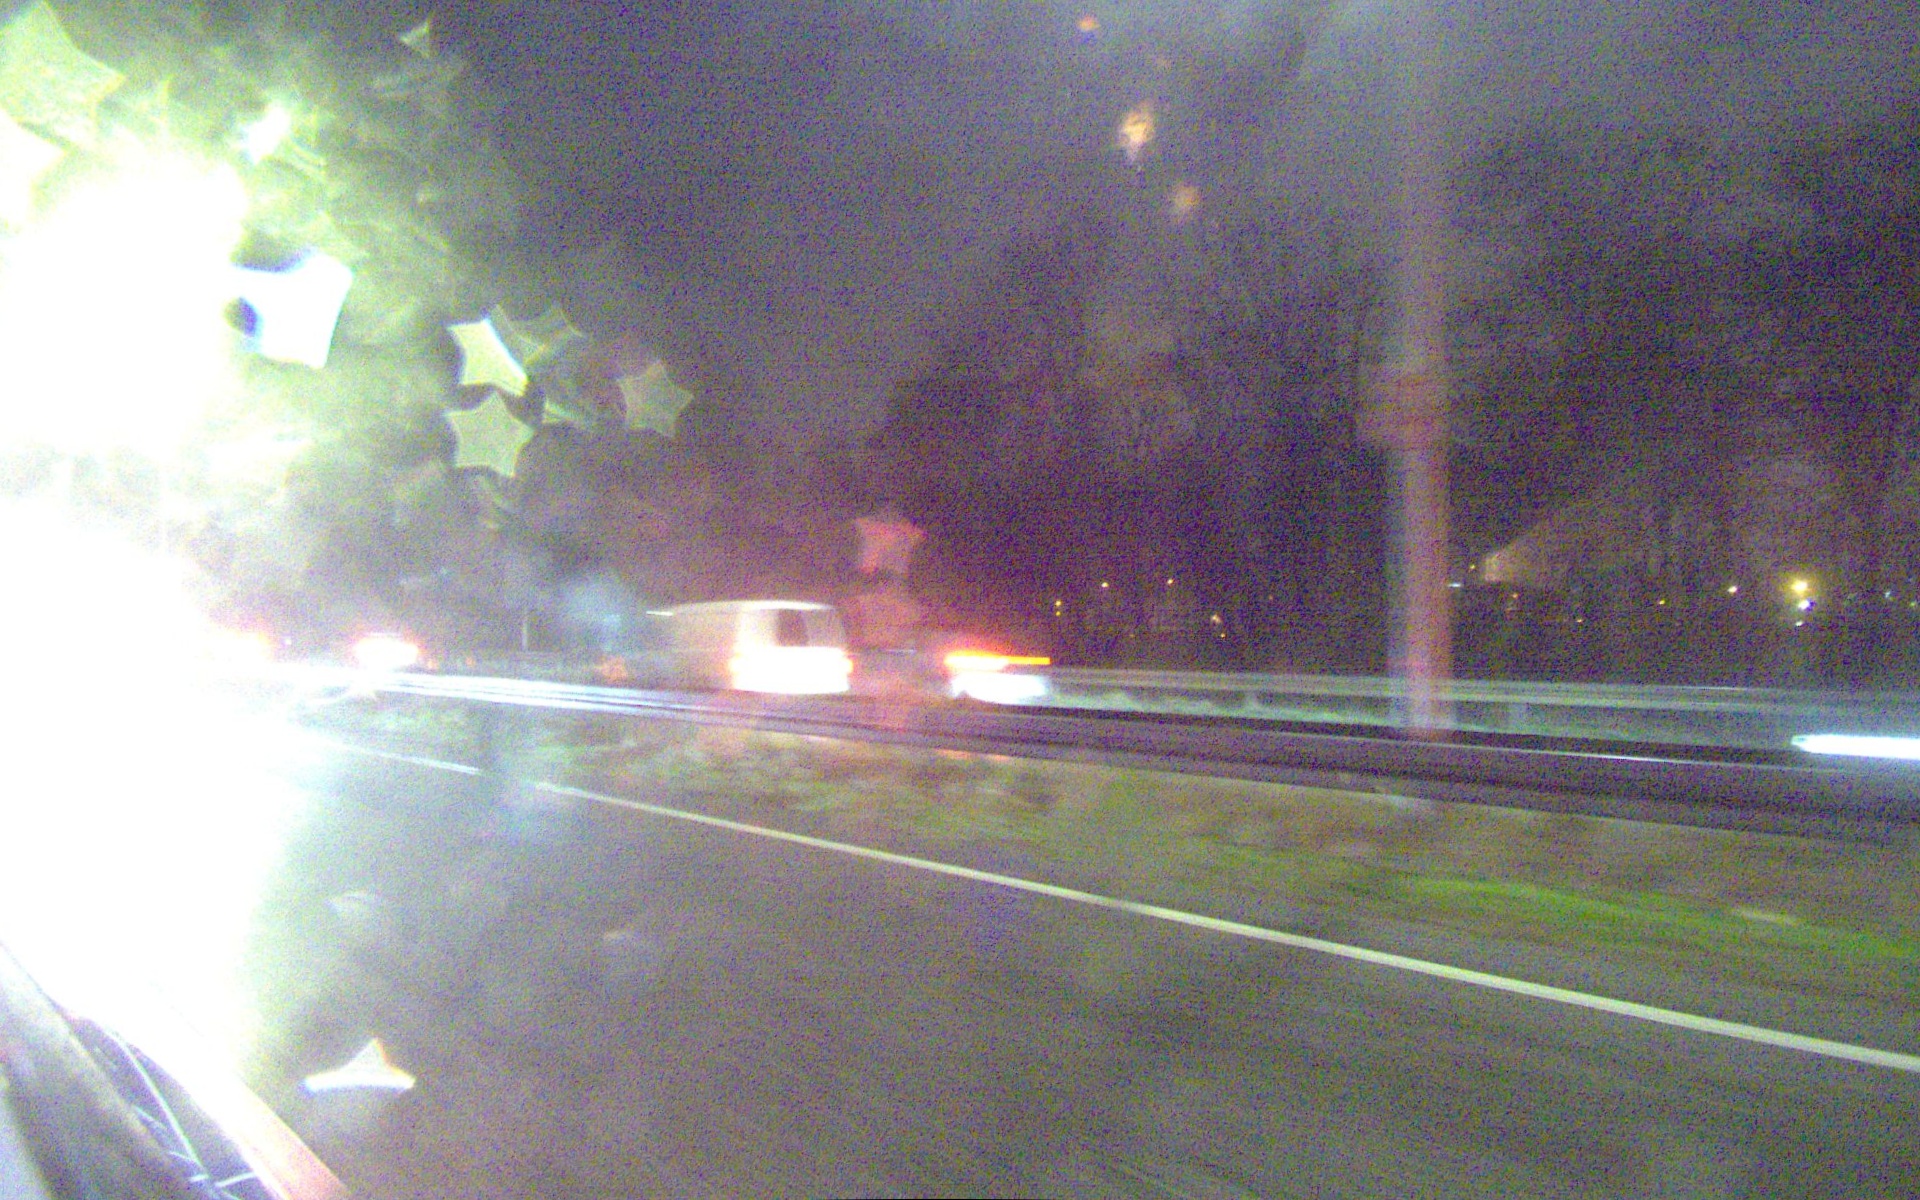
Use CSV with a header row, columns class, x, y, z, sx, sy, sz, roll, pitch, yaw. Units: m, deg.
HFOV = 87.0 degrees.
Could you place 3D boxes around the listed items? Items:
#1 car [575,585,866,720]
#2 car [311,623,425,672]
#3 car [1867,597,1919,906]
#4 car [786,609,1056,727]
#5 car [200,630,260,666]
class,x,y,z,sx,sy,sz,roll,pitch,yaw
car,-3.855,0.704,15.859,4.700,1.787,1.974,0,1,39
car,-21.401,1.659,36.506,4.893,1.513,2.003,0,1,40
car,8.112,0.898,5.432,4.700,1.787,2.144,0,1,39
car,-0.795,1.089,18.179,4.700,1.787,1.974,0,1,39
car,-35.911,2.309,49.758,3.832,1.563,1.584,0,1,41
